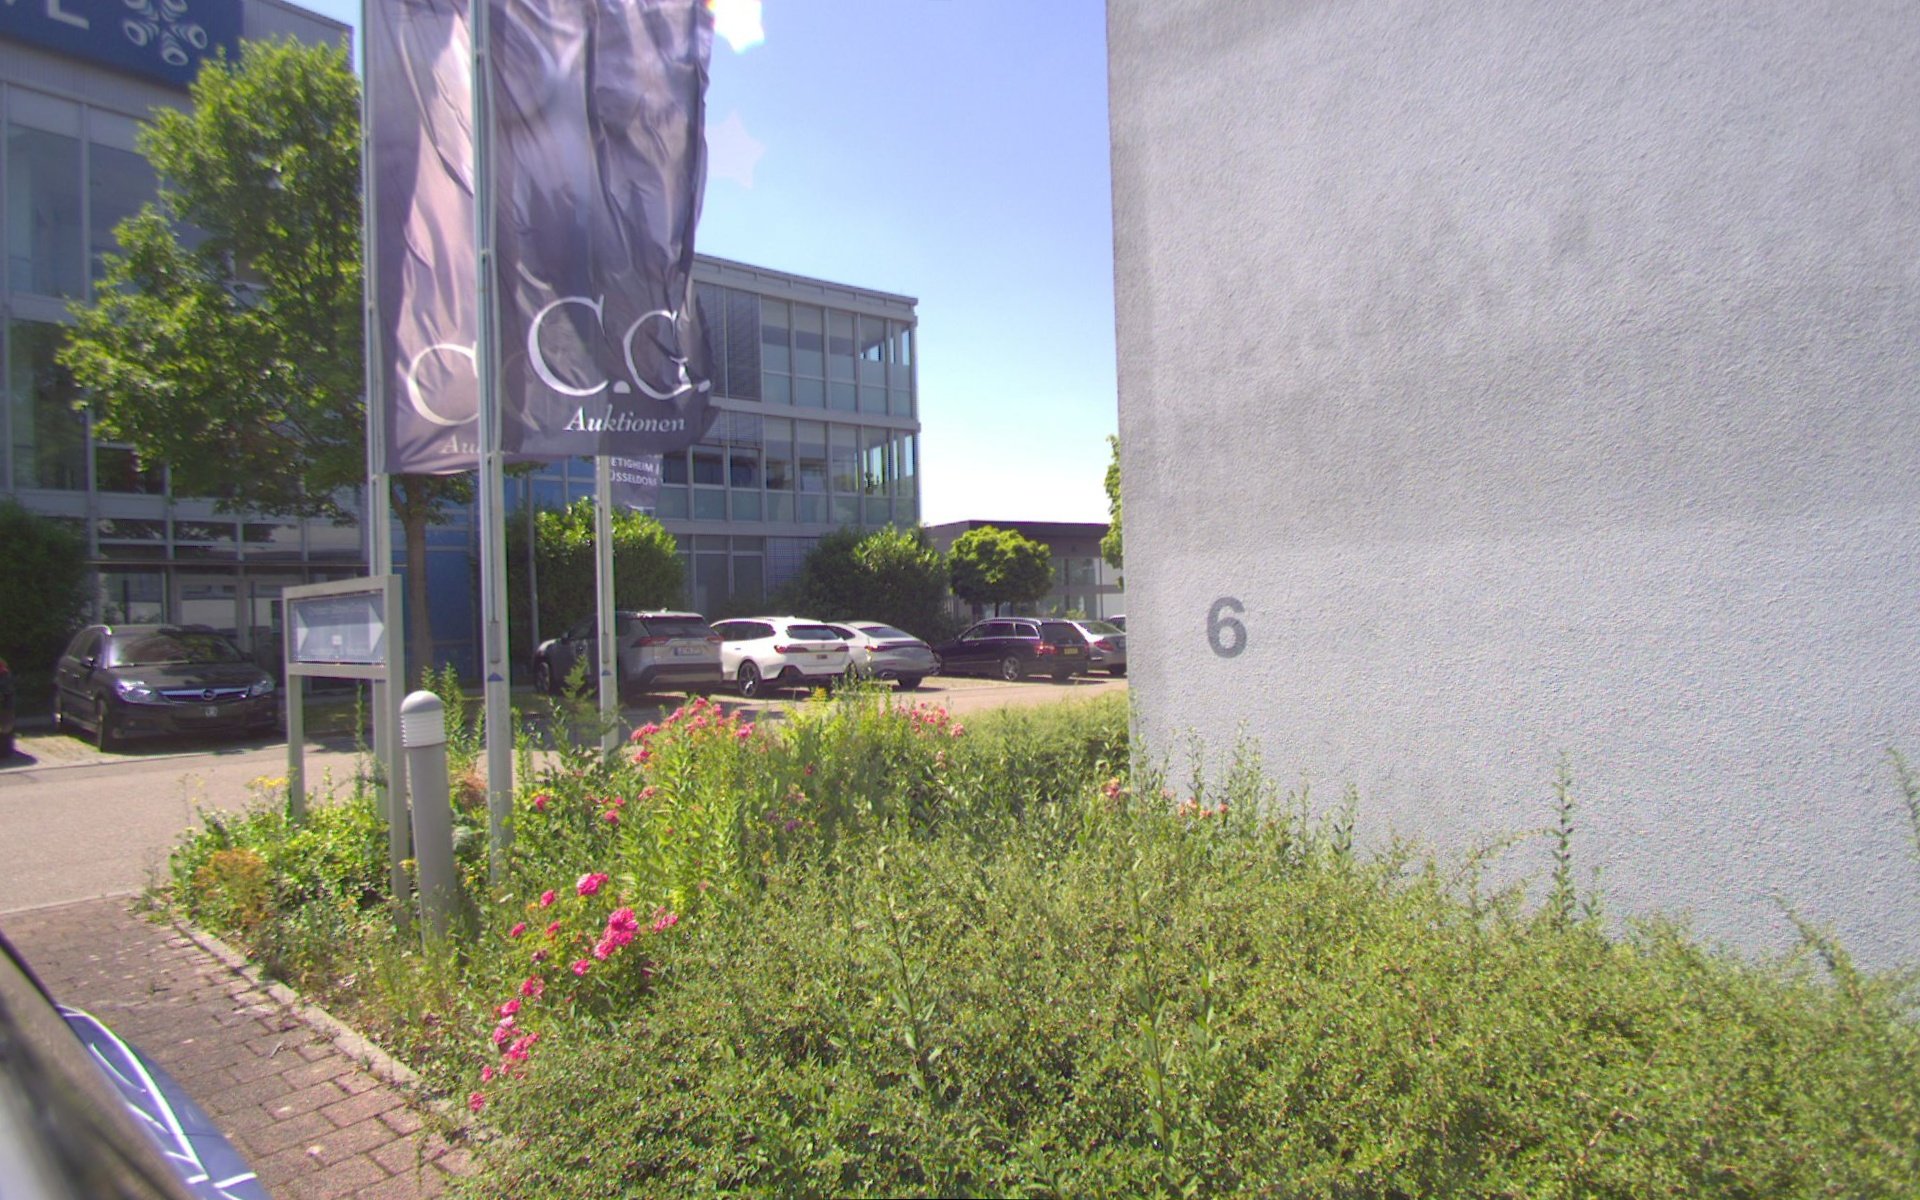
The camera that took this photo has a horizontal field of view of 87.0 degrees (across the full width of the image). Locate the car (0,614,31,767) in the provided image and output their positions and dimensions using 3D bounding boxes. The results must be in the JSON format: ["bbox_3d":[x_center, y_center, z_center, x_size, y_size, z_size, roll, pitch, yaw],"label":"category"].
[{"bbox_3d":[-12.042,0.961,11.292,3.855,1.615,1.914,-1,-2,39],"label":"car"}]

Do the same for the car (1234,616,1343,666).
[{"bbox_3d":[10.346,1.248,31.999,1.523,1.435,3.008,0,0,-31],"label":"car"}]

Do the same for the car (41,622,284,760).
[{"bbox_3d":[-10.569,1.069,13.292,4.394,1.495,1.708,-2,-1,41],"label":"car"}]

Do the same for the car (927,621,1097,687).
[{"bbox_3d":[1.186,1.251,24.636,1.725,1.435,4.177,1,-1,-42],"label":"car"}]

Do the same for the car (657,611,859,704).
[{"bbox_3d":[-4.072,1.070,20.041,4.170,1.650,1.808,-2,-2,42],"label":"car"}]

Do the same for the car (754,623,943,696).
[{"bbox_3d":[-2.473,1.208,21.791,4.170,1.411,1.728,-2,-2,42],"label":"car"}]

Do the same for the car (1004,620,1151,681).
[{"bbox_3d":[2.995,1.264,26.689,1.722,1.435,4.184,0,-1,-29],"label":"car"}]

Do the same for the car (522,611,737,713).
[{"bbox_3d":[-6.080,1.052,18.384,4.168,1.650,1.809,-1,-2,40],"label":"car"}]

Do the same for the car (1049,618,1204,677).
[{"bbox_3d":[4.584,1.262,28.330,1.725,1.435,4.179,0,0,-39],"label":"car"}]
